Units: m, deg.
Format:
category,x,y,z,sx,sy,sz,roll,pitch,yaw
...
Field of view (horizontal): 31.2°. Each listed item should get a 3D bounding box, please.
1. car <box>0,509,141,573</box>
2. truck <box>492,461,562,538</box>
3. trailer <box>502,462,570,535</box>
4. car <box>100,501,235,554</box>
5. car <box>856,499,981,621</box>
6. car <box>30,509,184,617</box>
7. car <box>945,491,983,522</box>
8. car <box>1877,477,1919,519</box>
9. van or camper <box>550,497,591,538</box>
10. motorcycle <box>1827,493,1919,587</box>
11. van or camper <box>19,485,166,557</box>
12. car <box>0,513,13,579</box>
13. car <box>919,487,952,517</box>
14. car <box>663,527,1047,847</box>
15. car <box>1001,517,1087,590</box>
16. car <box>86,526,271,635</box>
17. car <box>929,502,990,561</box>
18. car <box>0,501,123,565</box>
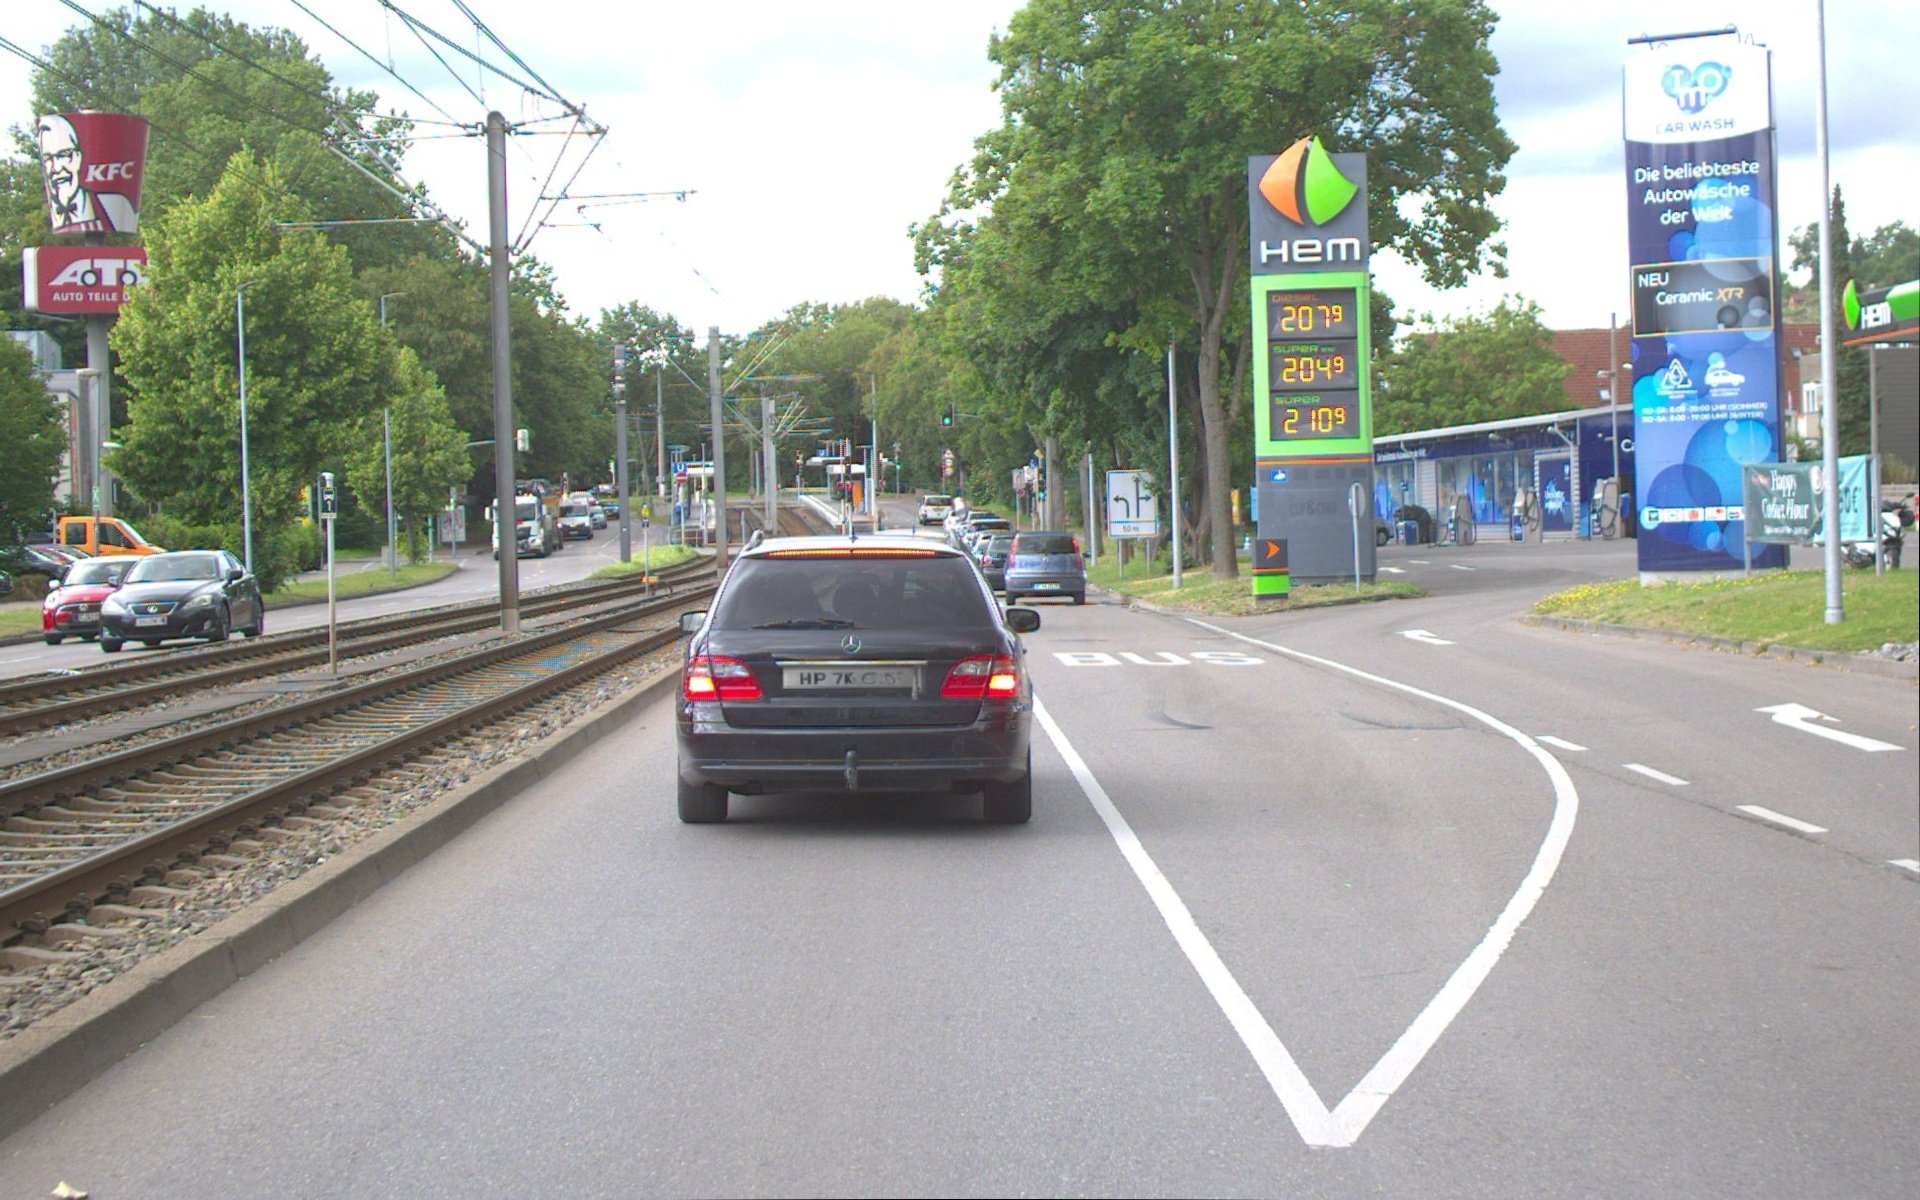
category,x,y,z,sx,sy,sz,roll,pitch,yaw
car,-24.147,-1.590,92.153,3.986,1.594,1.878,-2,2,-5
truck,-21.711,-5.053,172.743,2.706,3.651,11.114,-2,2,-4
trailer,-22.246,-5.339,180.860,2.704,3.647,13.301,-2,2,-4
car,-25.535,-2.355,110.874,3.986,1.594,1.797,-2,2,-5
car,-0.629,-0.618,51.633,1.780,1.744,3.718,1,1,-1
car,-14.678,-0.671,59.339,1.792,1.765,4.001,-1,2,-2
car,0.214,-5.270,193.313,1.993,1.708,4.001,-1,2,-1
car,39.465,-4.112,139.130,4.215,1.678,1.778,0,1,-3
van or camper,-23.333,-4.976,206.234,1.993,2.346,5.767,-2,2,-3
motorcycle,13.522,-0.899,50.804,0.855,1.326,1.990,-2,2,-1
van or camper,-25.770,-2.361,102.216,3.986,2.127,1.878,0,2,-5
car,-25.550,-1.281,84.660,3.986,1.594,1.878,-2,2,-5
car,-1.529,-6.125,215.150,1.993,1.831,4.000,0,1,-1
car,-0.522,0.368,18.147,1.808,1.469,3.881,0,2,-1
car,1.669,-0.951,69.248,1.571,1.410,3.354,1,1,-1
car,-11.495,-0.326,50.856,1.759,1.396,4.444,-4,2,-2
car,-0.022,-1.702,85.610,1.466,1.410,3.354,1,1,-1
car,-25.834,-1.904,97.170,3.986,1.791,1.878,0,2,-5
